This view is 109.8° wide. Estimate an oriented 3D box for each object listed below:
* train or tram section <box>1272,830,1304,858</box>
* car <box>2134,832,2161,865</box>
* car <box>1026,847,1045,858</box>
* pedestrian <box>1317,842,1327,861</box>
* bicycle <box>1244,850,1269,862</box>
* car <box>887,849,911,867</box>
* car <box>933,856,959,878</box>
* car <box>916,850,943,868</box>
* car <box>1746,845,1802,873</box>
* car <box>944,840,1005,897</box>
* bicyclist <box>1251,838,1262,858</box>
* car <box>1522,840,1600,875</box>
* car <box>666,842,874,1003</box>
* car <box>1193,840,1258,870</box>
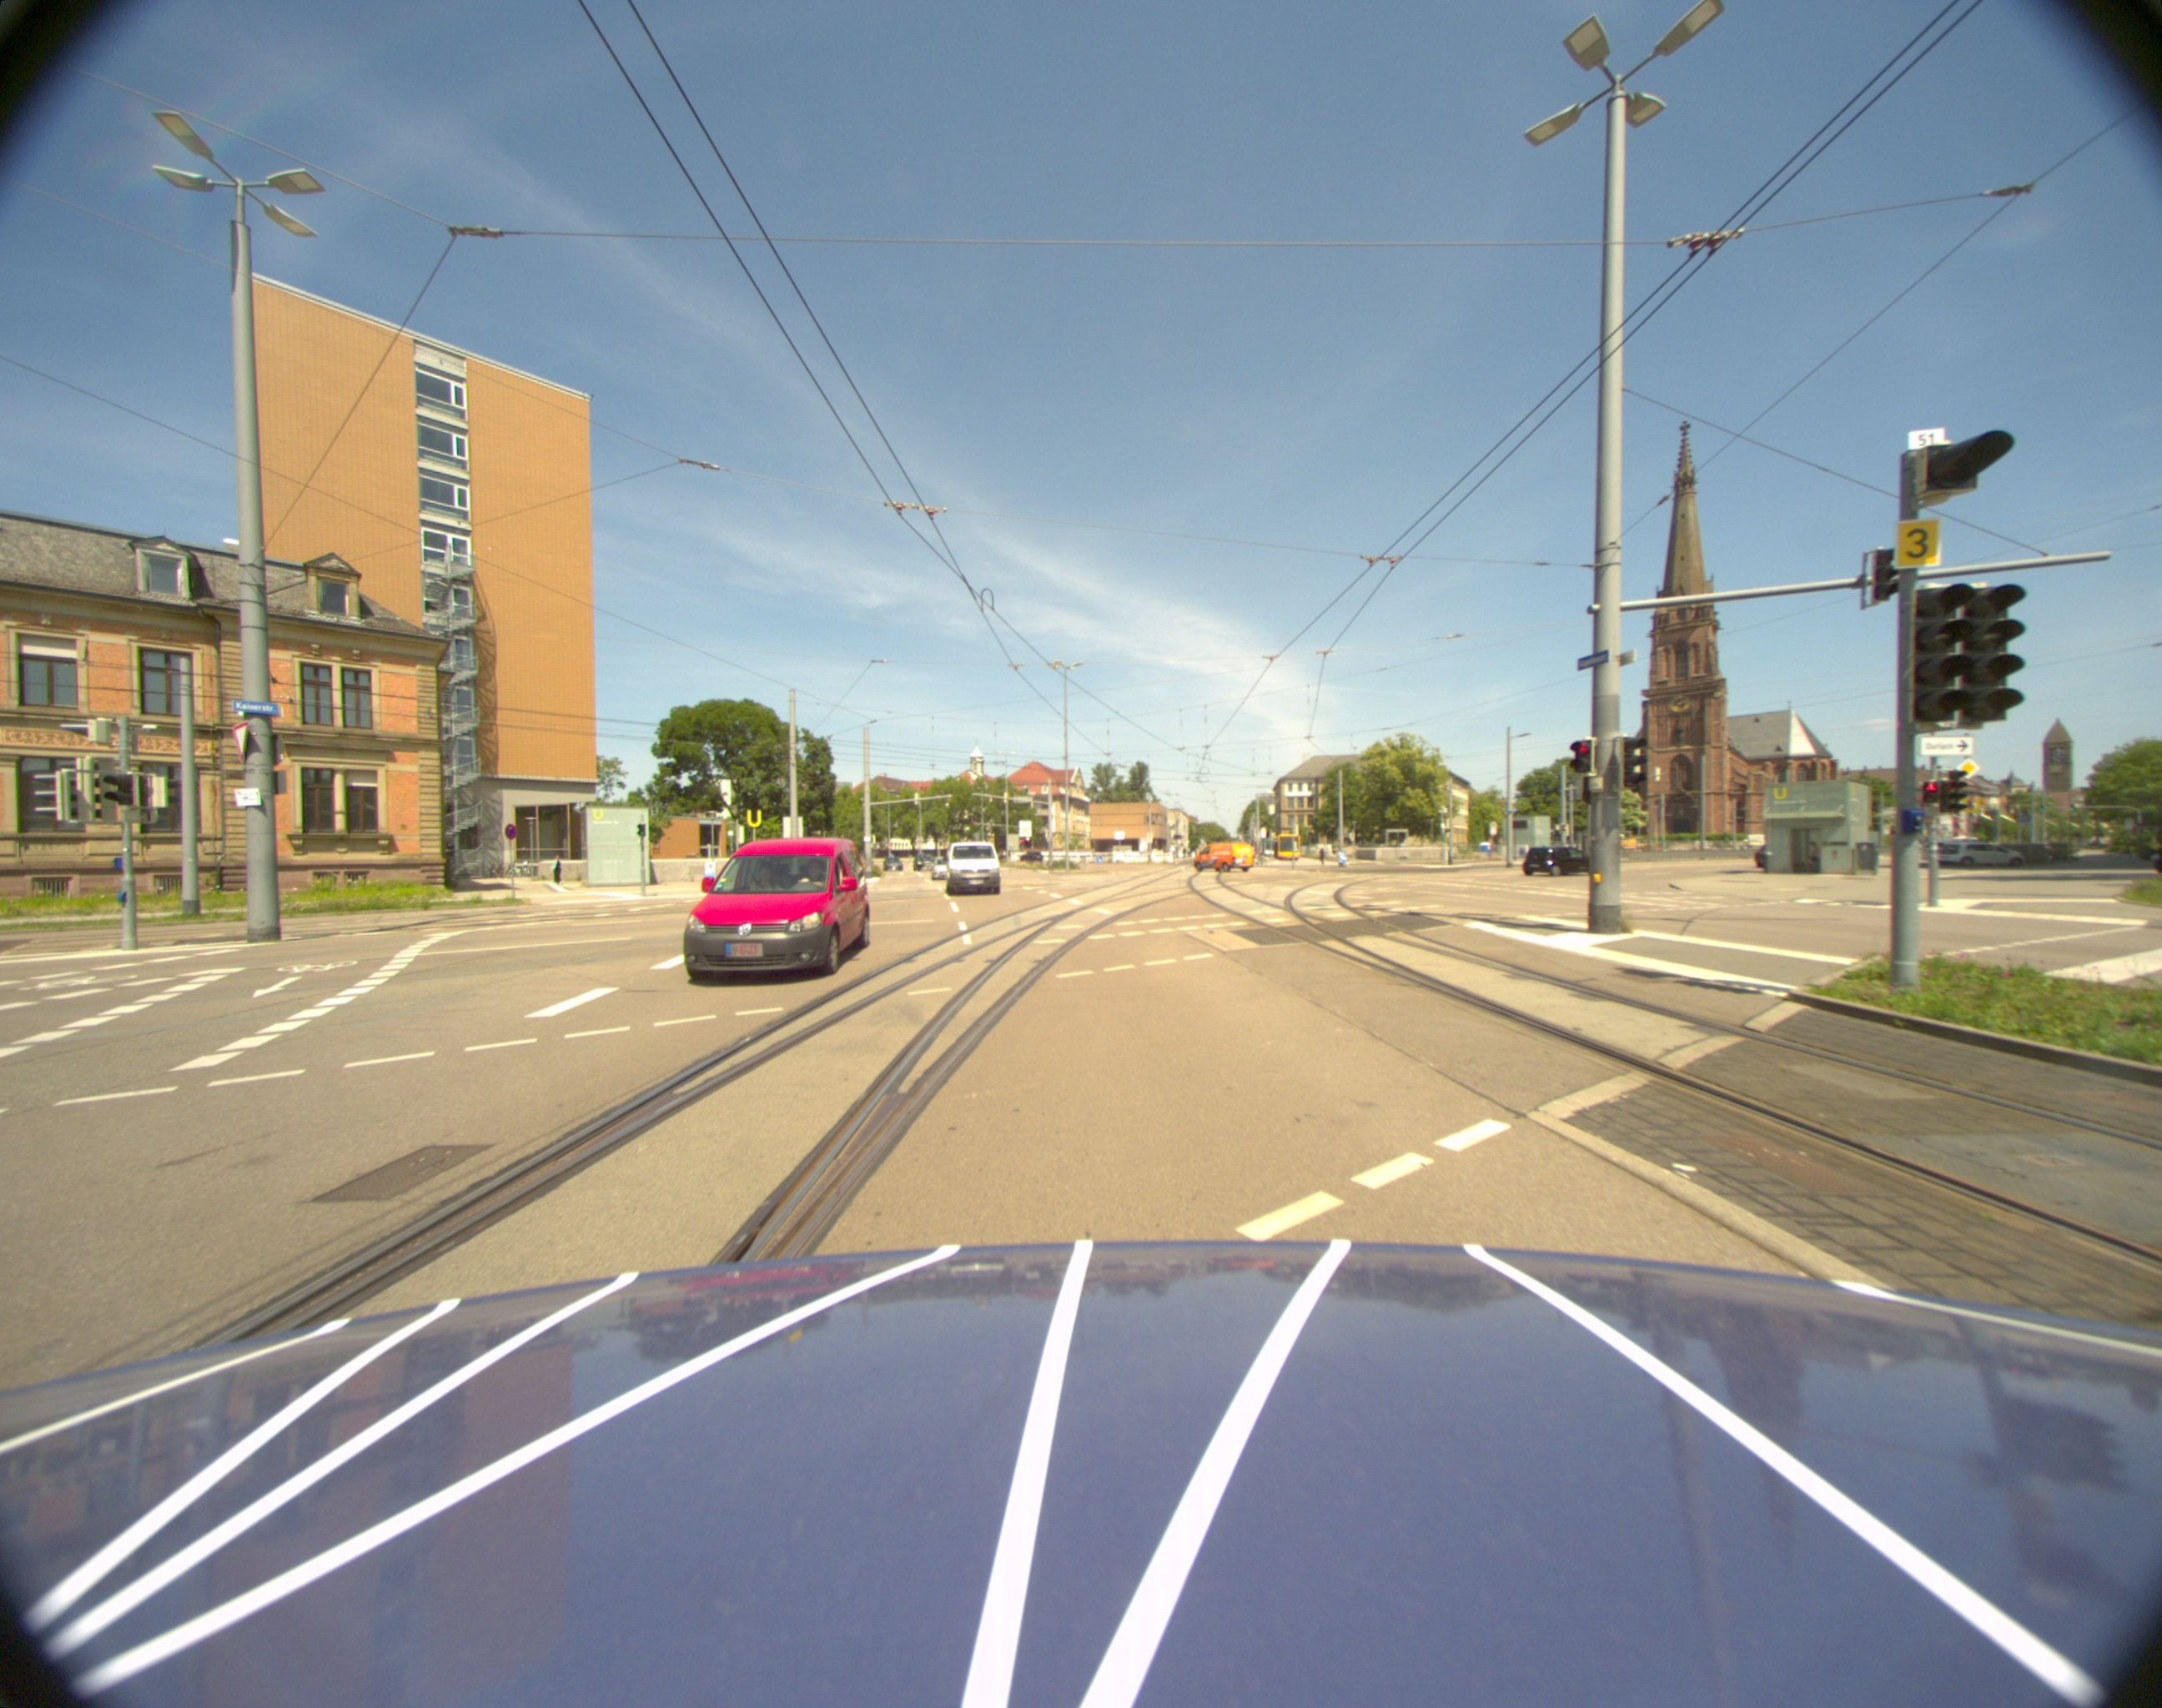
[{"bbox_3d":[25.137,-1.177,92.722,2.840,3.195,9.115,-1,1,10],"label":"train or tram section"},{"bbox_3d":[39.735,-0.242,27.496,1.986,1.148,0.503,-3,1,18],"label":"car"},{"bbox_3d":[-6.227,-0.206,103.927,1.541,1.450,2.980,-2,1,-29],"label":"car"},{"bbox_3d":[21.150,-0.219,66.592,0.657,1.661,0.449,-1,1,-15],"label":"pedestrian"},{"bbox_3d":[14.646,0.201,63.376,1.906,0.973,0.528,-1,1,-4],"label":"bicycle"},{"bbox_3d":[-18.827,0.412,78.442,2.002,1.830,3.993,-1,1,-19],"label":"car"},{"bbox_3d":[-9.034,0.832,50.688,1.572,1.346,3.455,-1,1,-12],"label":"car"},{"bbox_3d":[-14.706,0.463,73.573,2.002,1.714,3.993,-1,1,-19],"label":"car"},{"bbox_3d":[40.041,0.252,43.868,4.007,1.521,1.774,-2,1,-39],"label":"car"},{"bbox_3d":[-4.094,0.484,28.738,1.876,1.954,3.818,-1,1,-14],"label":"car"},{"bbox_3d":[14.637,-0.480,63.433,0.813,1.678,0.528,-1,1,-4],"label":"bicyclist"},{"bbox_3d":[23.337,0.159,36.958,3.389,1.565,1.332,-2,1,-17],"label":"car"},{"bbox_3d":[-4.134,0.758,10.821,1.757,1.802,4.093,-1,1,-8],"label":"car"},{"bbox_3d":[10.059,0.041,53.236,2.003,2.002,4.585,-2,1,-28],"label":"car"}]
